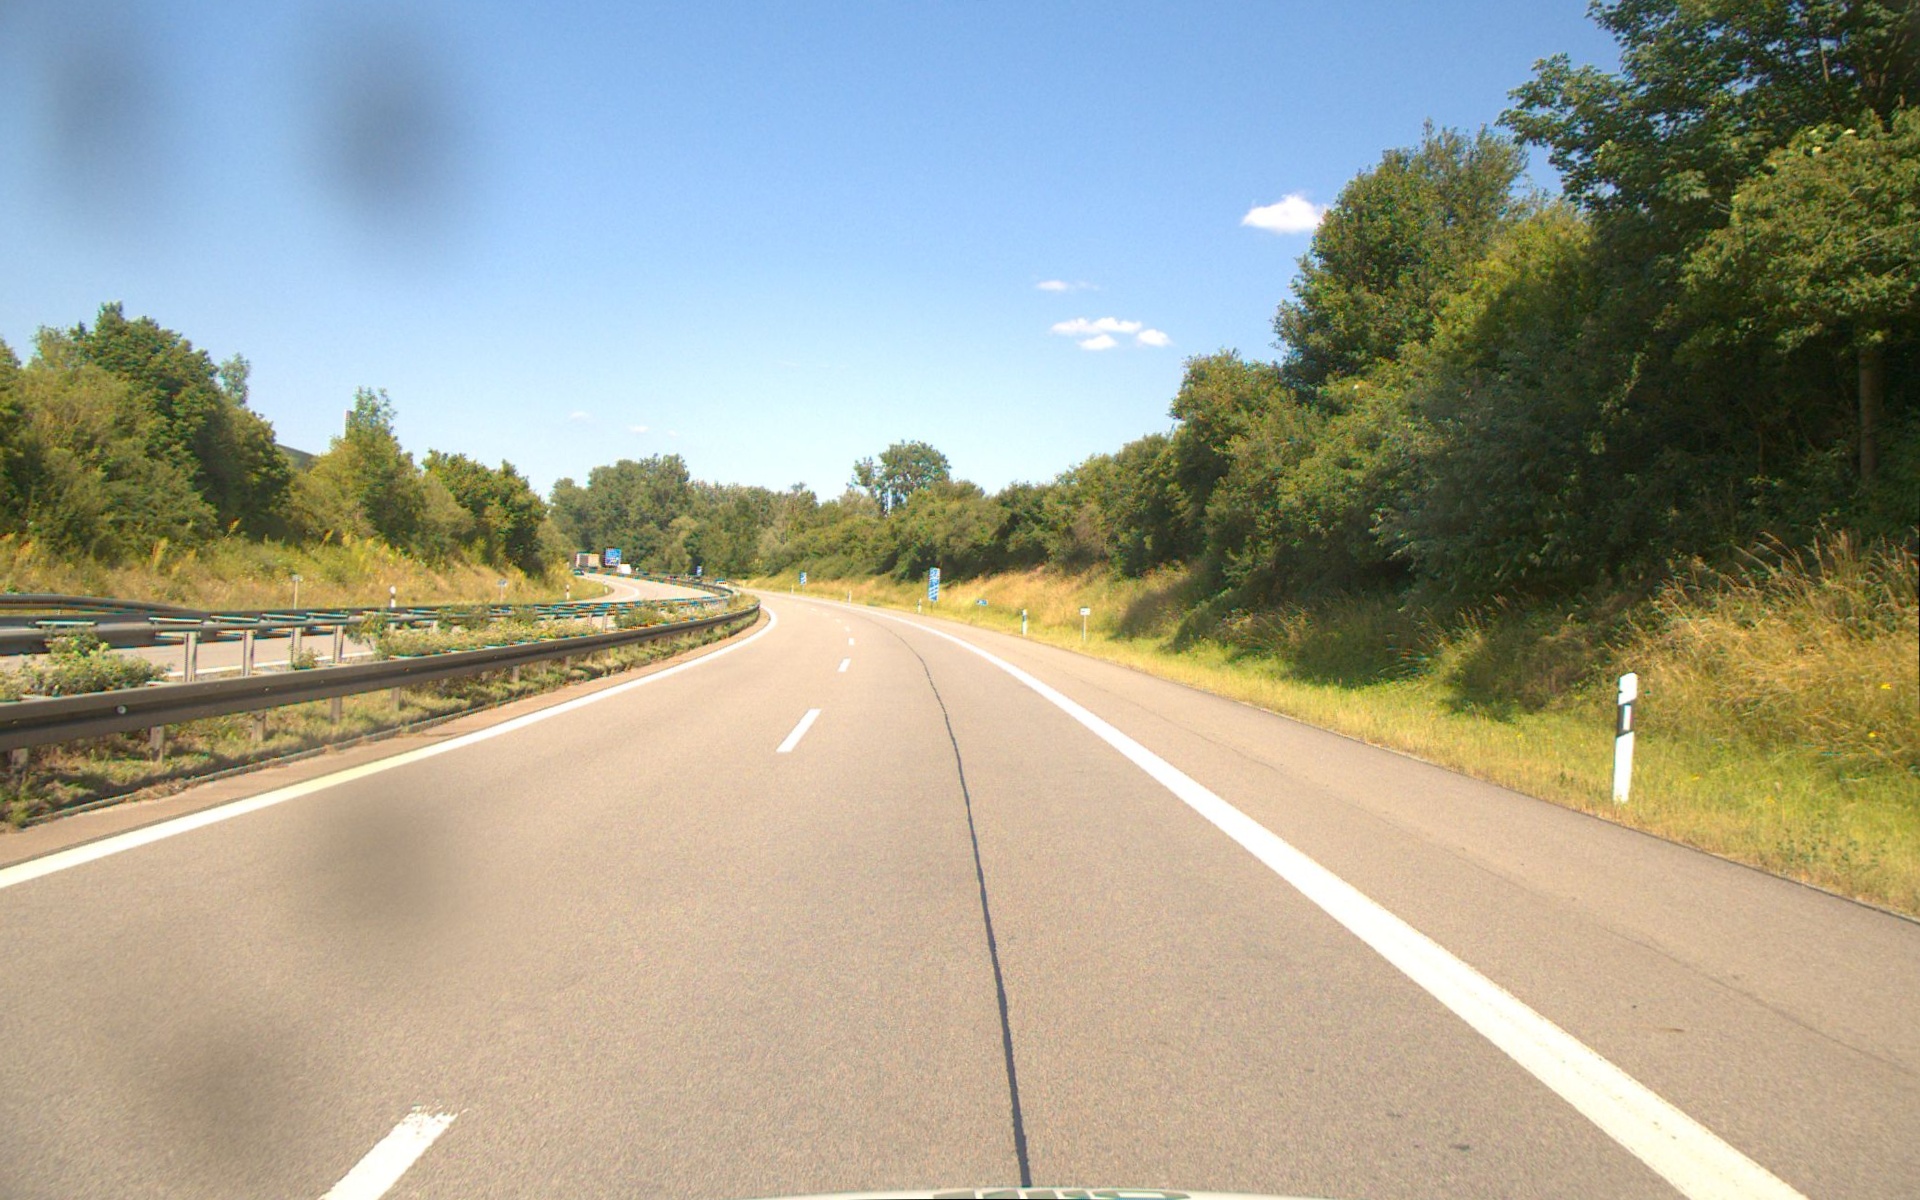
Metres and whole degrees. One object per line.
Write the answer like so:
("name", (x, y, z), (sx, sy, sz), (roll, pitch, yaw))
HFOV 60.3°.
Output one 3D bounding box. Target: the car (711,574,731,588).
("car", (-31.322, -2.447, 216.546), (2.028, 1.653, 3.983), (2, -1, -15))
